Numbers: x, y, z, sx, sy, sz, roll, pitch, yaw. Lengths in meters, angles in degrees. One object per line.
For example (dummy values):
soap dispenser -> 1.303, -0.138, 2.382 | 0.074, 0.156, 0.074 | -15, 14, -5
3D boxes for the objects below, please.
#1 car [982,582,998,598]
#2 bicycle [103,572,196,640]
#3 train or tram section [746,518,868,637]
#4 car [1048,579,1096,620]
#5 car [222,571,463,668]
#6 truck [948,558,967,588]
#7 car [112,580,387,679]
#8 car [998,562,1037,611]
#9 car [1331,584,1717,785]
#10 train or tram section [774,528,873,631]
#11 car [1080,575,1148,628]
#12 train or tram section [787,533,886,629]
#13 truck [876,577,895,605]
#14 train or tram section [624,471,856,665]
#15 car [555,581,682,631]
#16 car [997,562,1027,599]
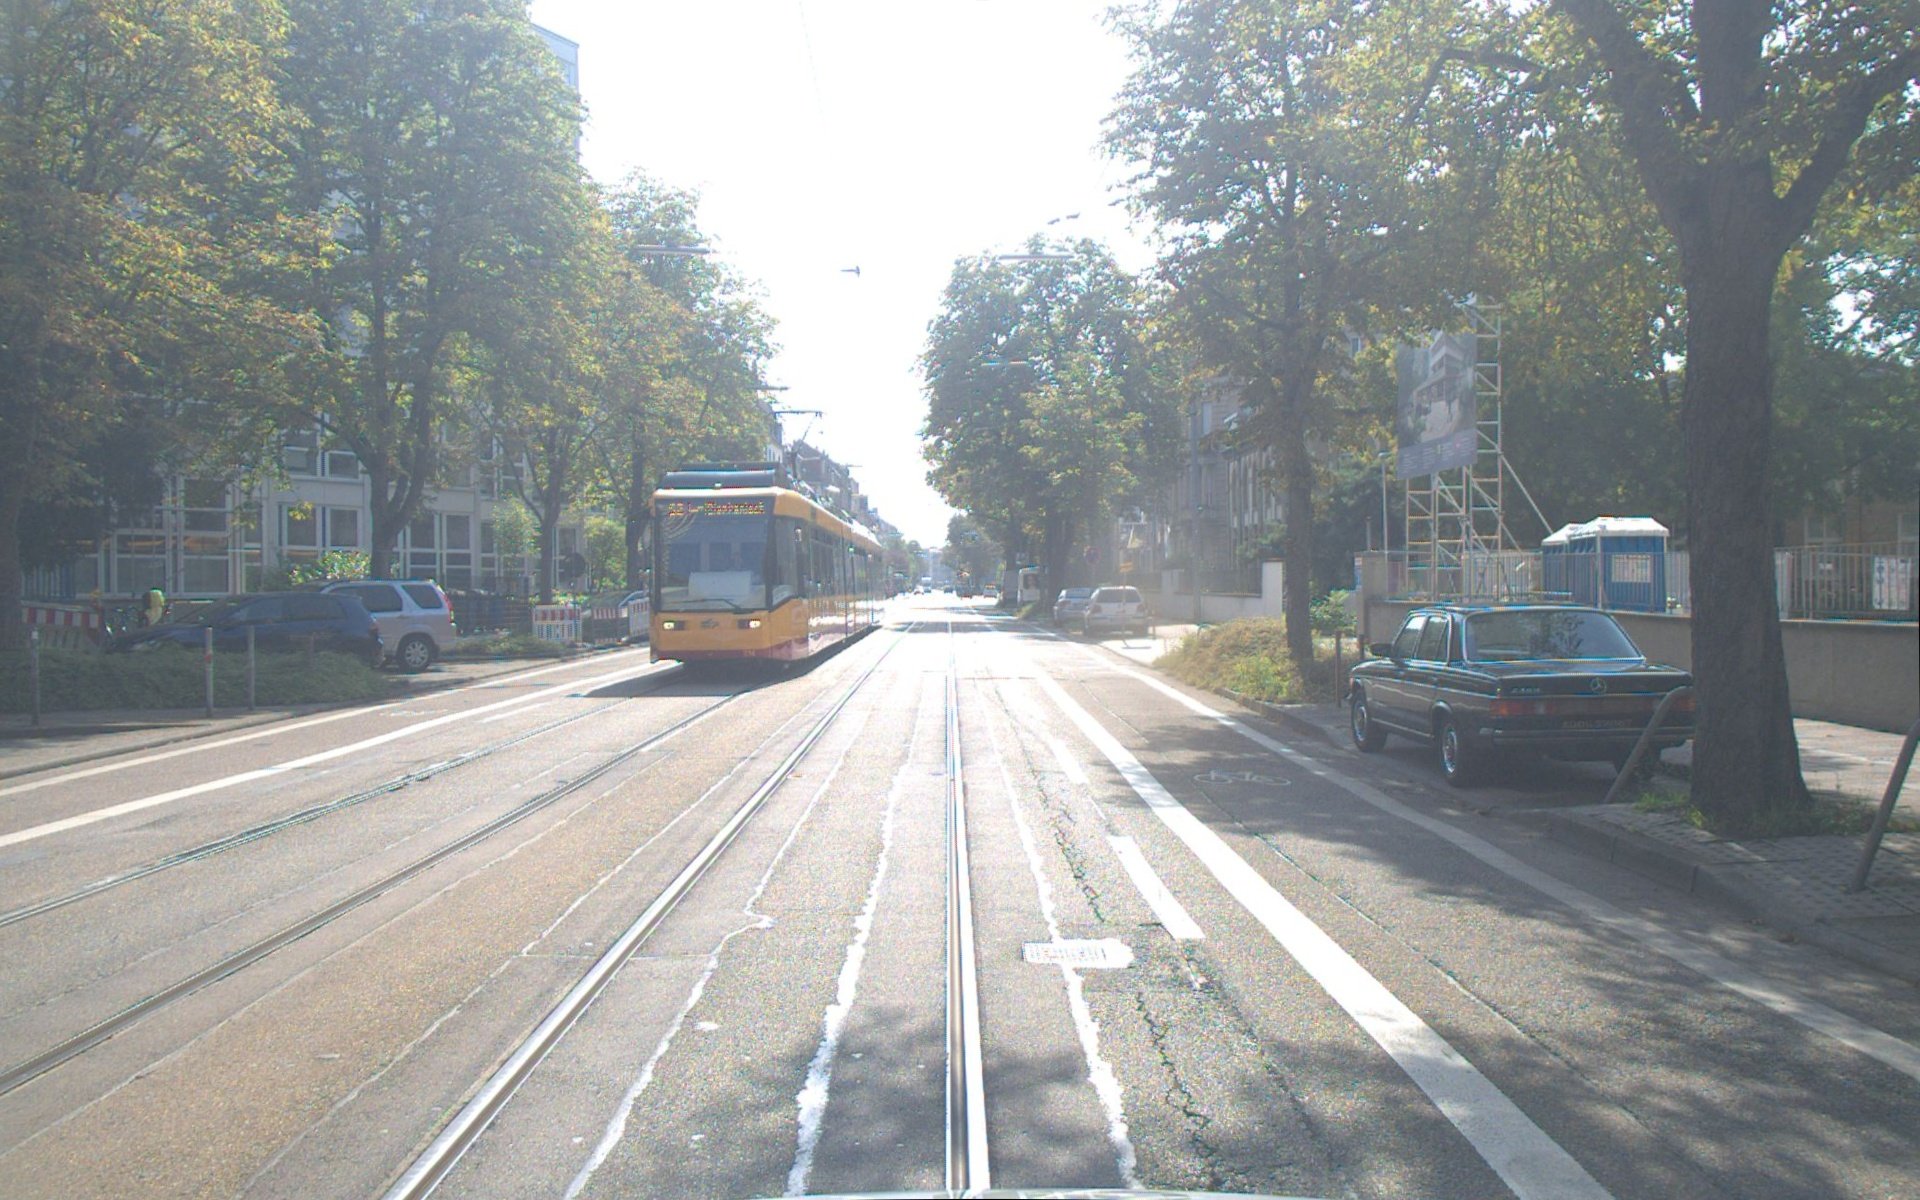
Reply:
car -> 3.597, -1.154, 198.526 | 1.952, 1.870, 4.000 | -1, 0, 1
bicycle -> -17.371, 0.126, 35.430 | 2.380, 1.405, 0.585 | 0, 0, 31
train or tram section -> -3.958, -0.574, 44.121 | 2.673, 2.899, 6.542 | -1, 0, -1
car -> 4.139, -0.029, 61.501 | 1.562, 1.443, 3.634 | -1, 0, 0
car -> -11.216, 0.315, 30.169 | 1.715, 1.650, 3.769 | 0, 0, 45
truck -> -0.281, -2.919, 178.209 | 1.823, 3.185, 4.350 | -1, 0, -3
car -> -11.421, 0.434, 26.722 | 3.765, 1.467, 1.667 | -1, 0, -43
car -> 3.104, -0.721, 89.406 | 1.963, 2.534, 4.477 | -1, 0, 0
car -> 4.683, 0.603, 14.530 | 1.718, 1.401, 4.718 | -2, 0, 0
train or tram section -> -4.004, -0.600, 49.234 | 2.651, 2.906, 3.649 | -1, 0, -1
car -> 4.409, 0.036, 47.745 | 1.655, 1.443, 3.634 | -1, 0, 0
train or tram section -> -4.061, -0.616, 56.348 | 2.626, 2.912, 10.542 | -1, 0, 0
truck -> -7.998, -0.968, 178.110 | 1.953, 3.027, 4.570 | -1, 0, -1
train or tram section -> -3.850, -0.528, 33.089 | 2.673, 2.945, 15.453 | -1, 0, 0
car -> -10.616, 0.169, 51.579 | 1.541, 1.468, 3.745 | 0, 0, 39
car -> 3.663, -1.367, 116.398 | 1.963, 2.518, 4.477 | -1, 0, 0
